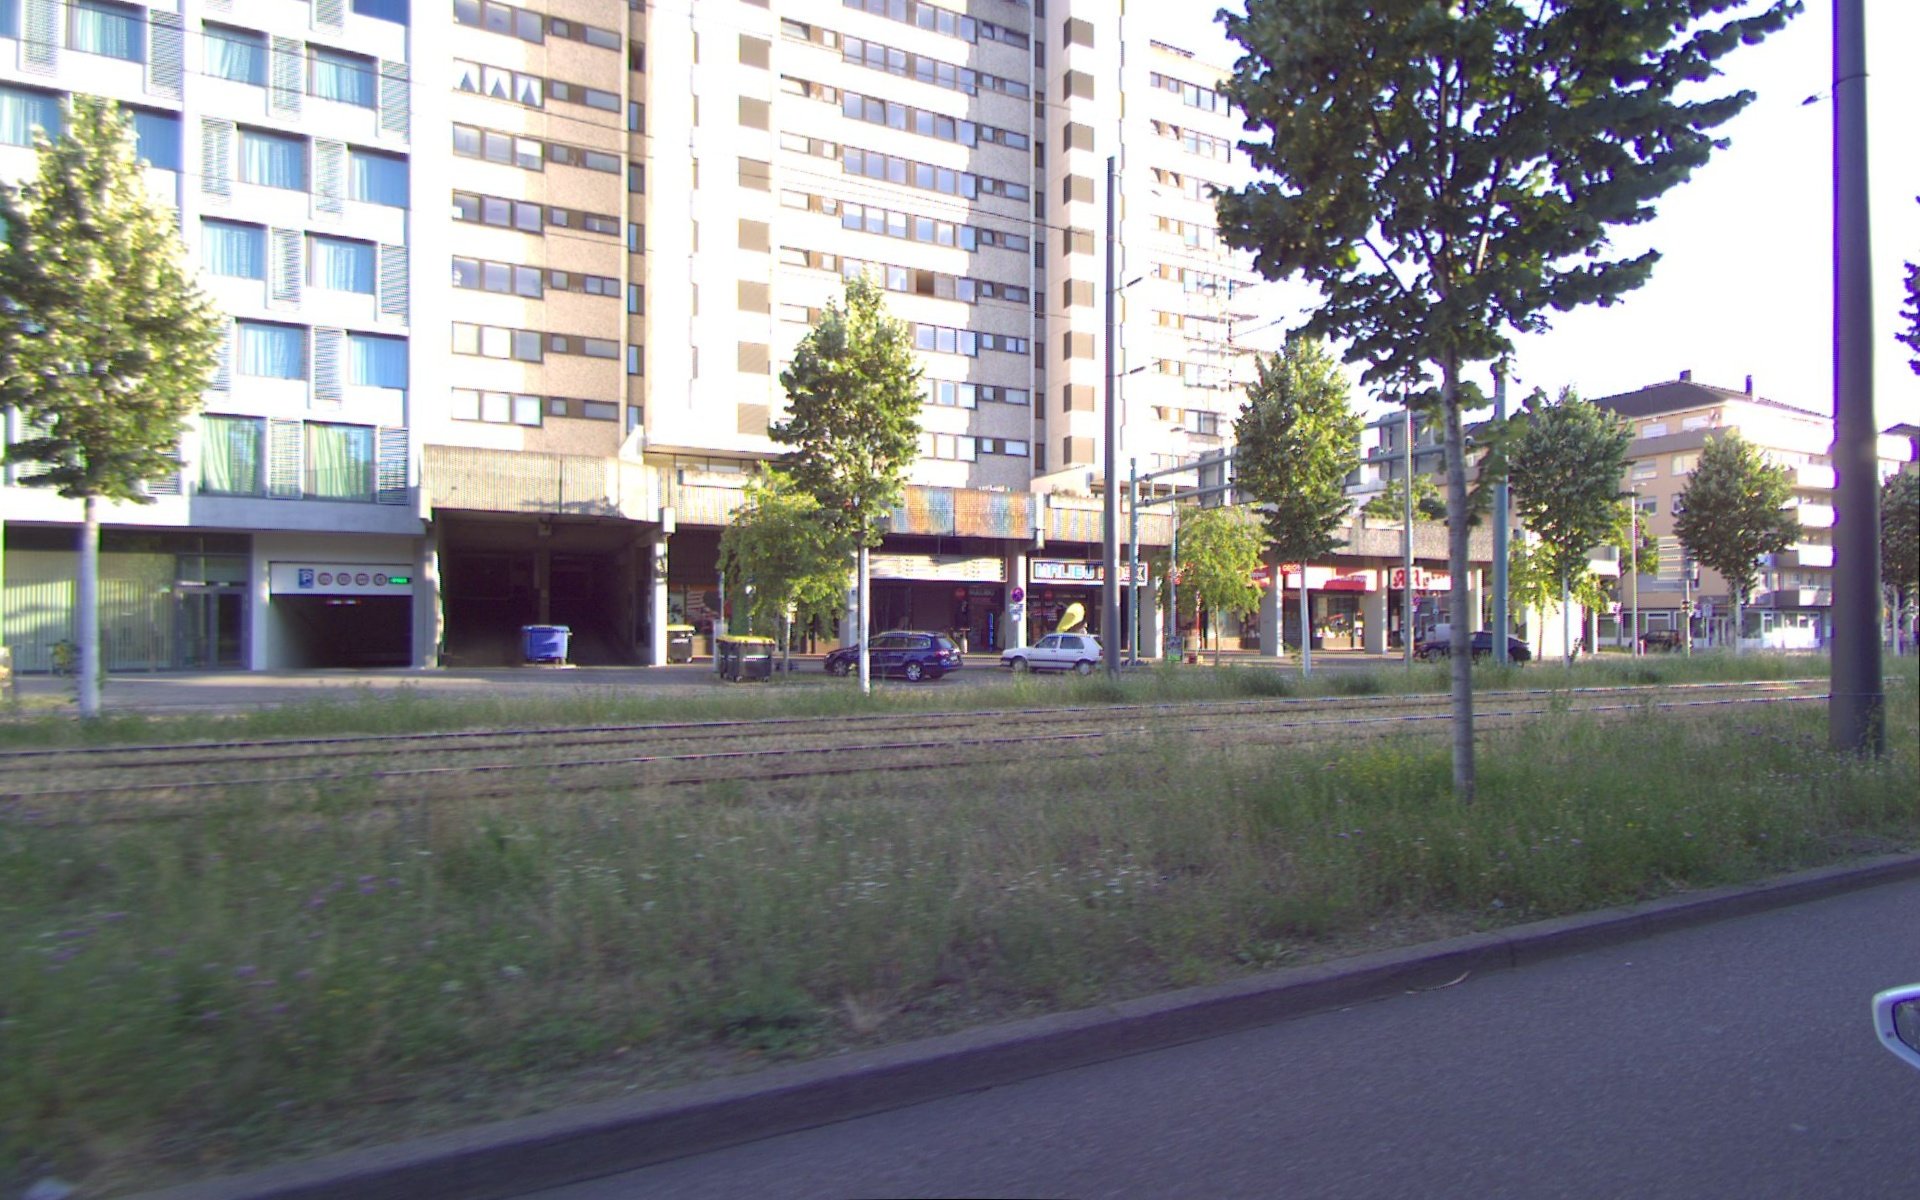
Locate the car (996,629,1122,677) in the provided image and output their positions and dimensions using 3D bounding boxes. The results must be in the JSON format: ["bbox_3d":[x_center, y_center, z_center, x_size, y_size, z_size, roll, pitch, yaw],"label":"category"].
[{"bbox_3d":[3.498,1.847,35.536,4.053,1.455,1.823,1,1,26],"label":"car"}]

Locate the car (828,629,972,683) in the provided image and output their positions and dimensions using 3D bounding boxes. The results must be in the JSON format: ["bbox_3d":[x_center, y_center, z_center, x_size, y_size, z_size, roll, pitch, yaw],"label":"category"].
[{"bbox_3d":[-1.933,1.758,32.500,4.204,1.611,2.008,0,-1,25],"label":"car"}]

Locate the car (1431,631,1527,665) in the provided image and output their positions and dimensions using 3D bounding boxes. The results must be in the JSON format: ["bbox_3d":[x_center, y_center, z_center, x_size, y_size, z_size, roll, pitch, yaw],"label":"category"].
[{"bbox_3d":[23.074,2.108,44.798,3.658,1.469,1.744,-1,-2,23],"label":"car"}]

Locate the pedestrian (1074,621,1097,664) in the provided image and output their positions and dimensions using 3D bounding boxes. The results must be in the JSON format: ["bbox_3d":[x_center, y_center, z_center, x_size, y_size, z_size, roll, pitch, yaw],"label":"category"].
[{"bbox_3d":[5.063,1.704,40.603,0.652,1.683,0.662,1,1,-25],"label":"pedestrian"}]

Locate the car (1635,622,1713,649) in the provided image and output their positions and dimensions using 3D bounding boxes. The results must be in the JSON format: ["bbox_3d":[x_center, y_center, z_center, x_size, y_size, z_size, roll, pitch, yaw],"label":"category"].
[{"bbox_3d":[50.211,2.475,70.691,2.163,1.870,3.921,1,-2,-26],"label":"car"}]

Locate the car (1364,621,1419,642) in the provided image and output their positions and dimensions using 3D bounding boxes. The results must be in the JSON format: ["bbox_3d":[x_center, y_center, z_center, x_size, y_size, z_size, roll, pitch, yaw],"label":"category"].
[{"bbox_3d":[38.995,2.837,90.811,2.088,1.779,4.314,1,-1,-26],"label":"car"}]

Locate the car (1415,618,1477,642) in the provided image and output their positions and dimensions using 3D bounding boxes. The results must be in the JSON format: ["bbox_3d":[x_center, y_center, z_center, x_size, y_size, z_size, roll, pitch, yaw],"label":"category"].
[{"bbox_3d":[41.410,2.516,85.662,2.138,2.016,4.472,1,-1,-26],"label":"car"}]
